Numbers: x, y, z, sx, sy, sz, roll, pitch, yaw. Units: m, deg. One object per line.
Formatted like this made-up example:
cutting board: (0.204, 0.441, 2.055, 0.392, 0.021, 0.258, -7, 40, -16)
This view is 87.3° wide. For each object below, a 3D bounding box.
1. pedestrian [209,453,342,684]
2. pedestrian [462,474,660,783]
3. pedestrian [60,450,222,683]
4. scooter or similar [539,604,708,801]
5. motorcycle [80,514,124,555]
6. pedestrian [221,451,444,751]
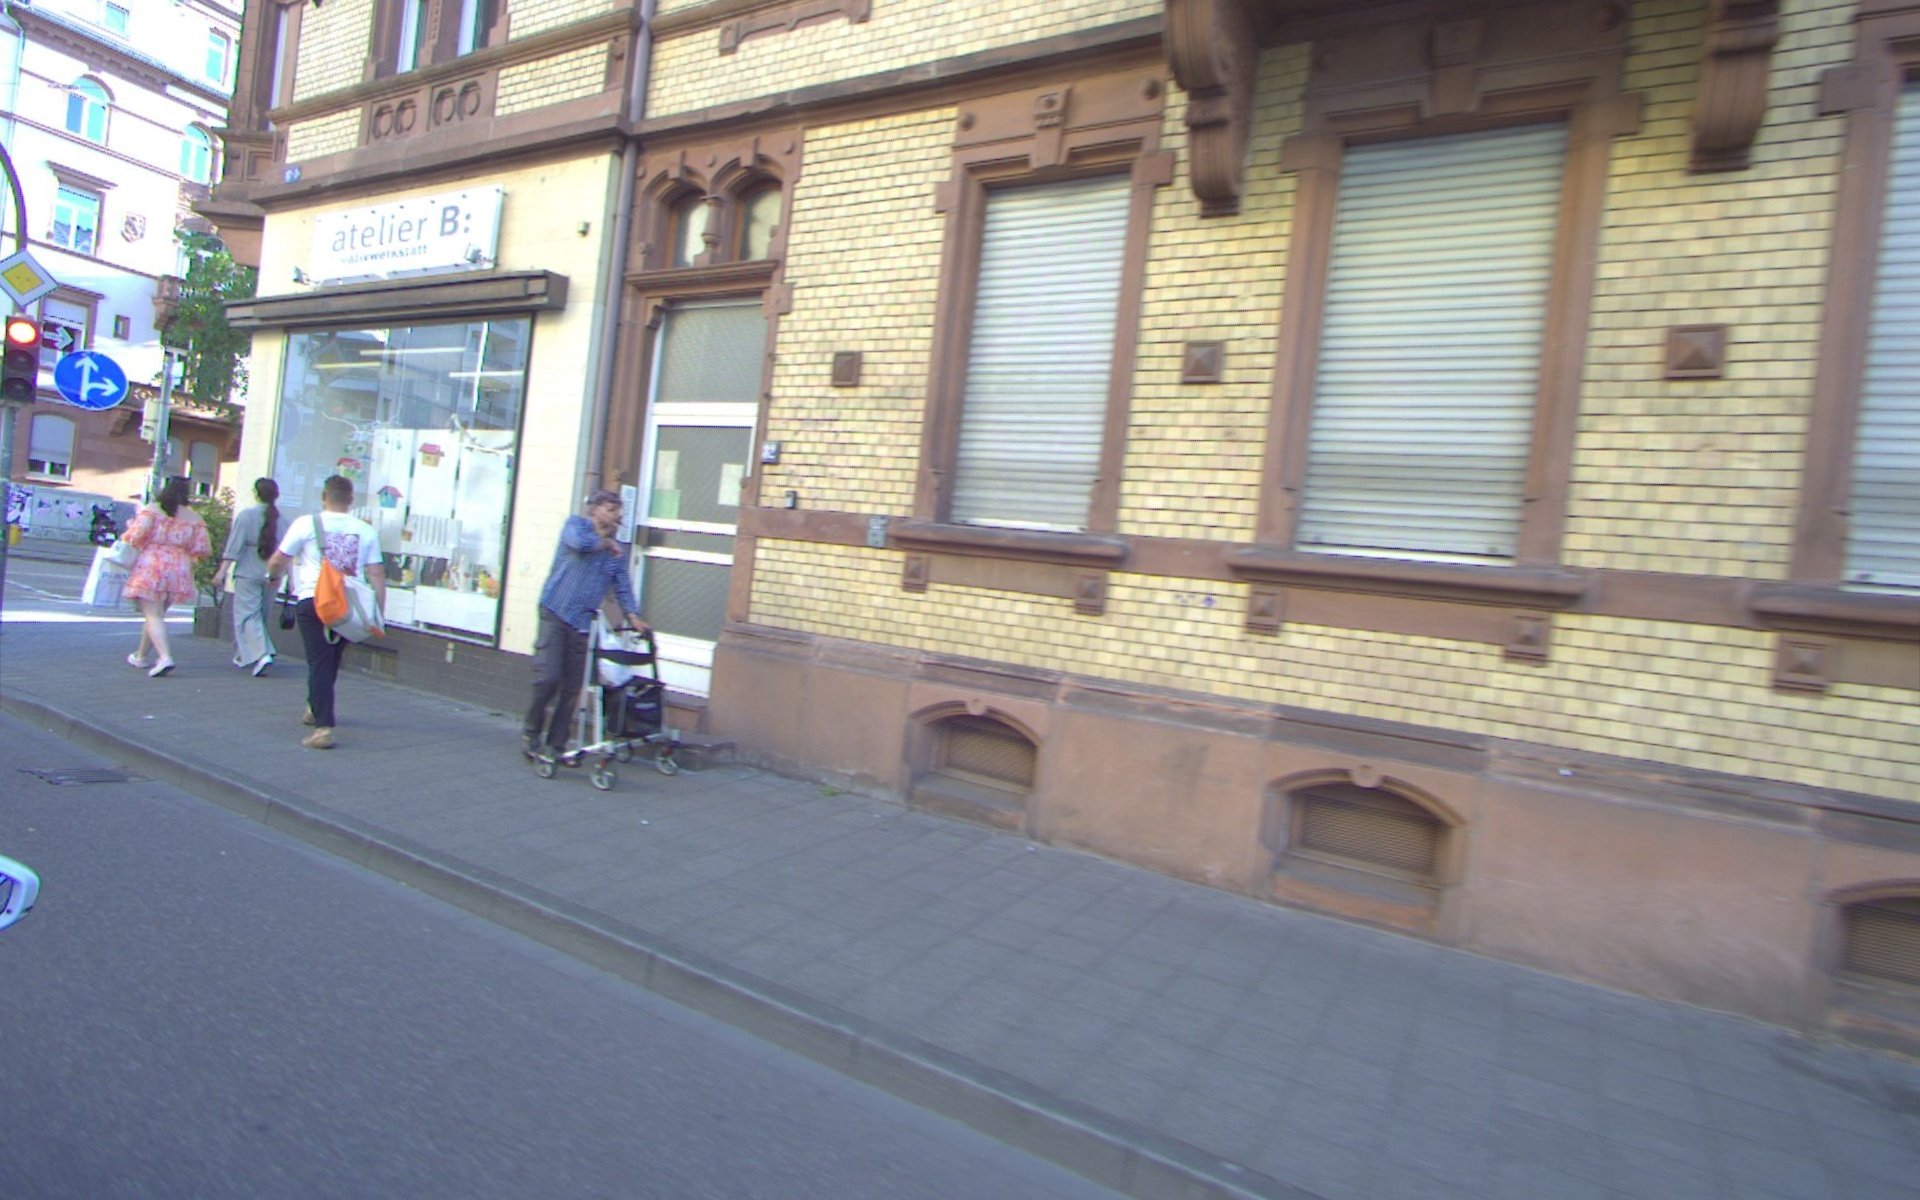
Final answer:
pedestrian: (-6.092, -0.282, 8.958, 0.659, 1.935, 0.690, 8, 4, 29)
pedestrian: (-2.588, 0.162, 6.546, 0.749, 1.825, 0.805, 8, 4, 31)
pedestrian: (-6.934, -0.283, 8.523, 0.748, 1.825, 0.805, 8, 4, 29)
scooter or similar: (-2.069, 0.594, 6.233, 0.512, 1.085, 0.805, 7, 4, 31)
motorcycle: (-27.174, -2.095, 31.839, 2.255, 1.033, 0.718, 9, 1, 43)
pedestrian: (-4.260, -0.019, 6.830, 1.073, 1.825, 0.805, 7, 4, 29)
